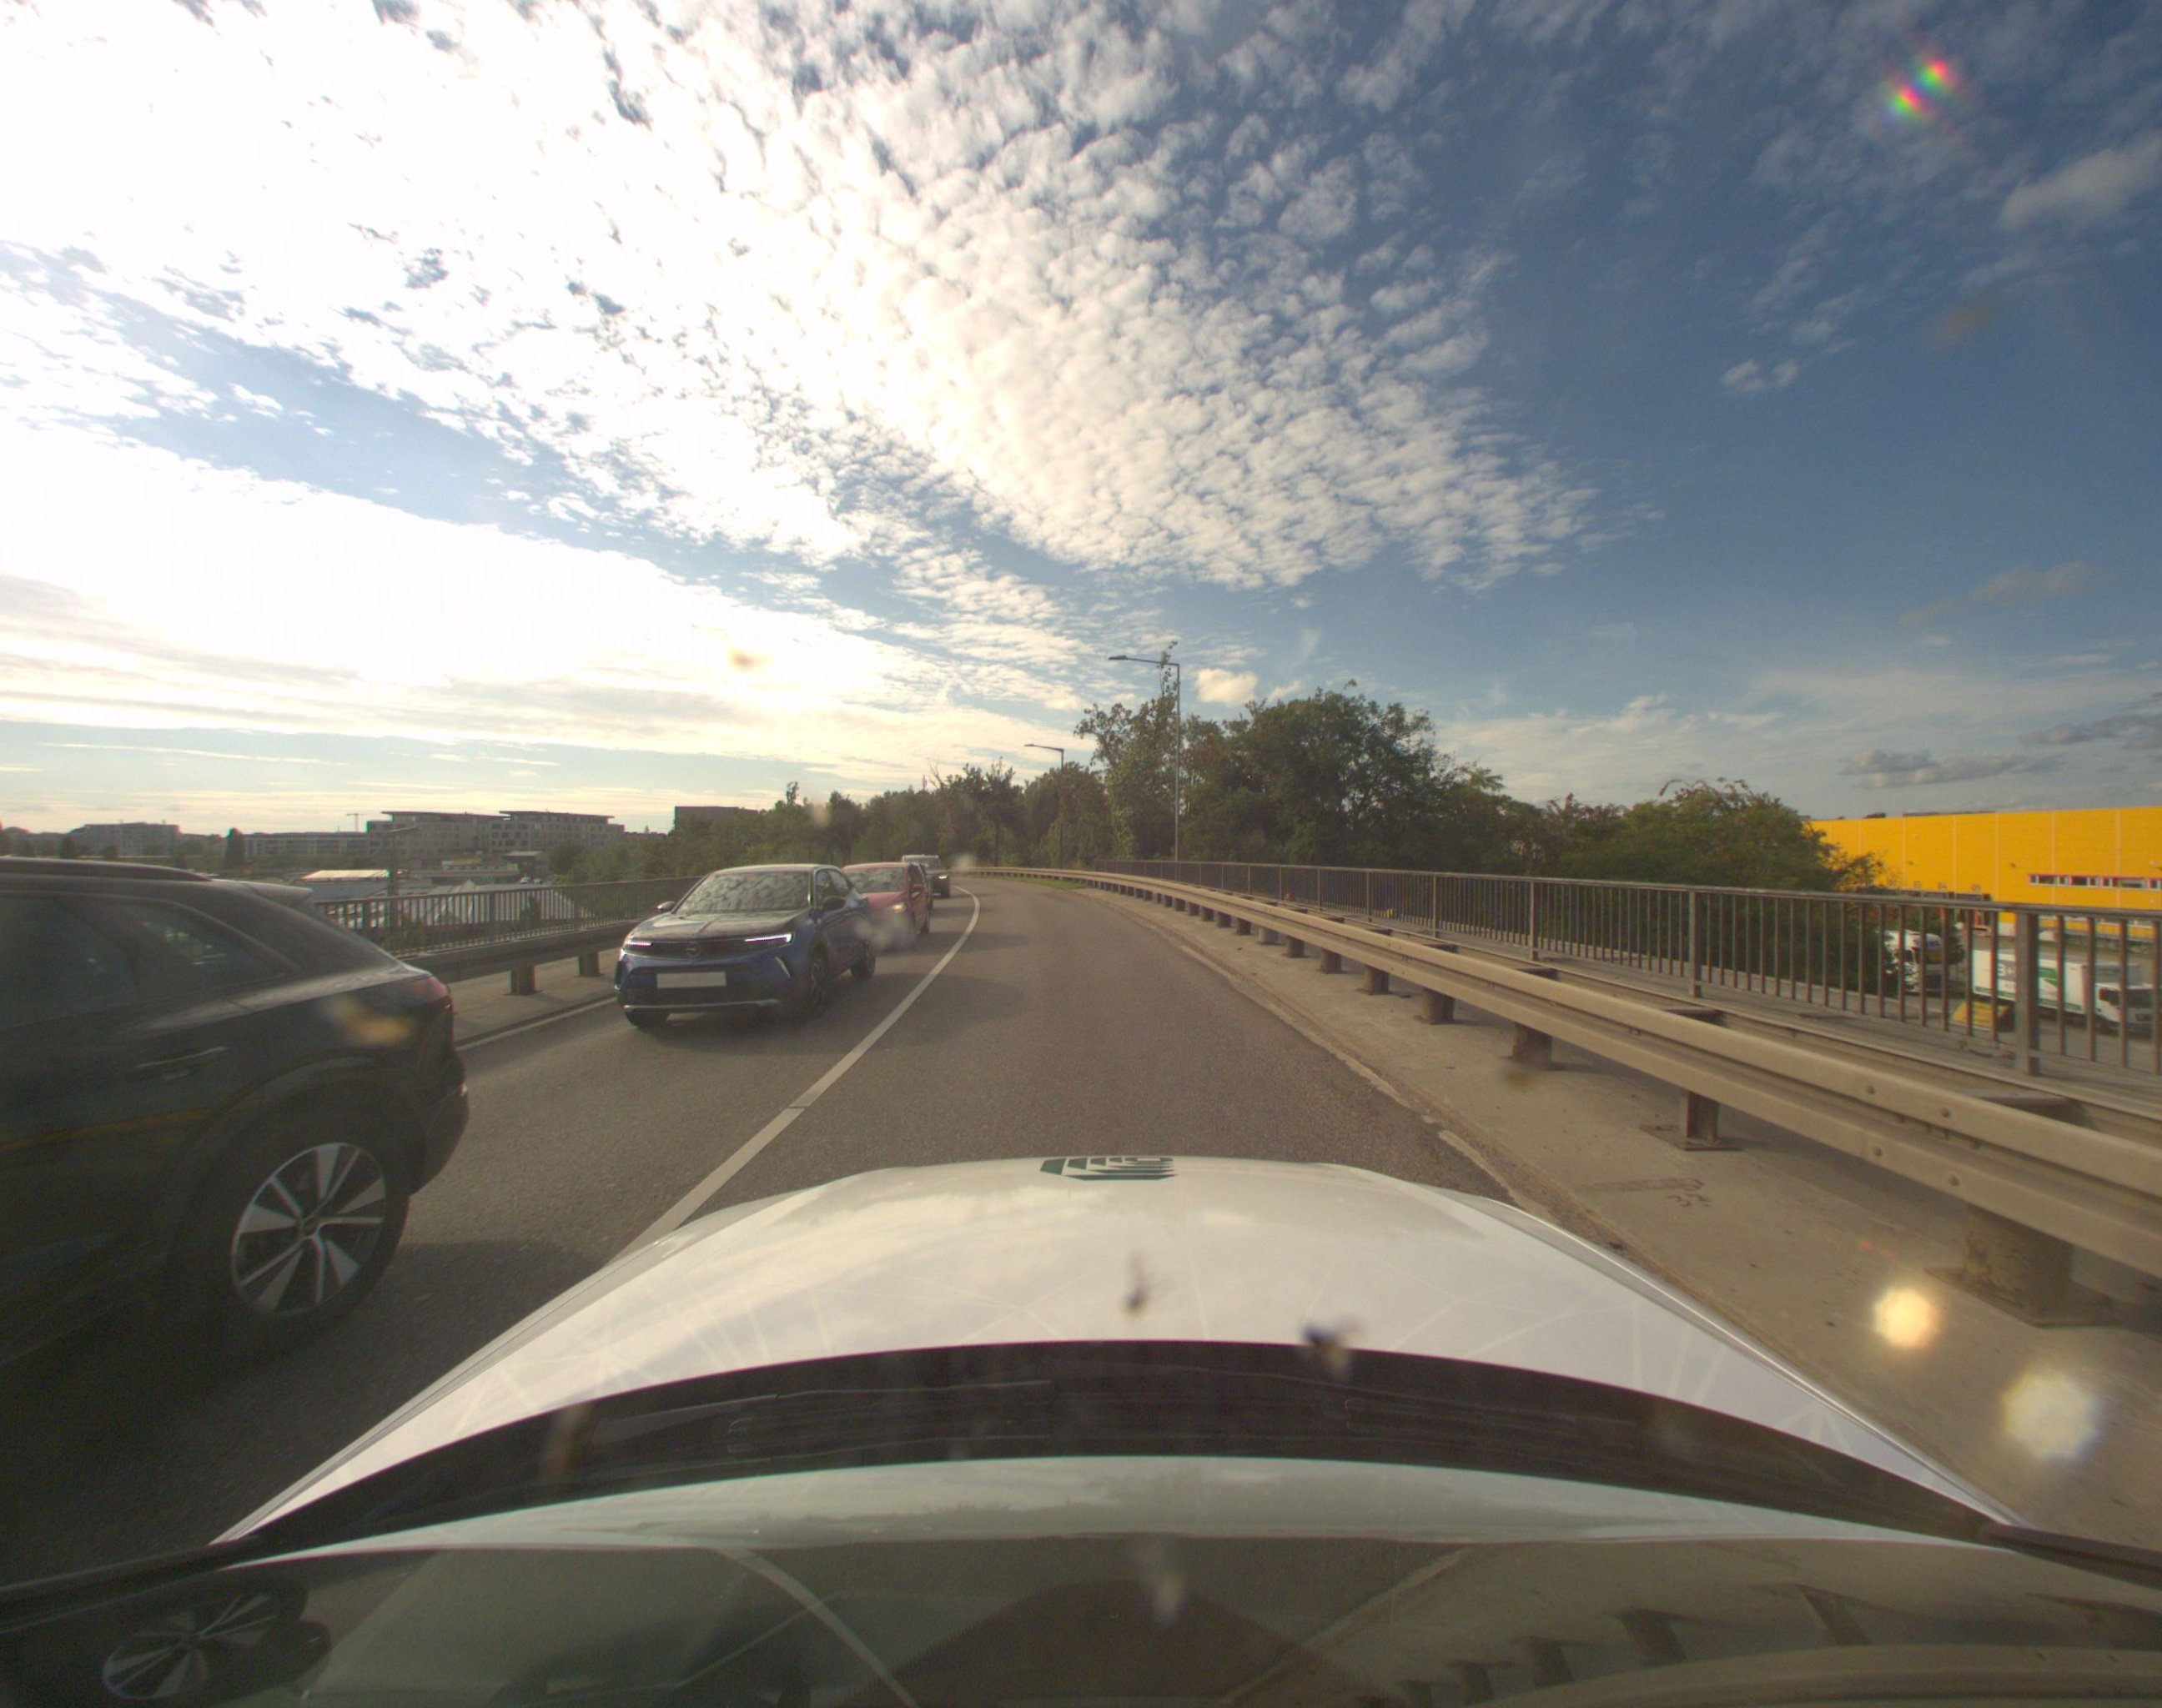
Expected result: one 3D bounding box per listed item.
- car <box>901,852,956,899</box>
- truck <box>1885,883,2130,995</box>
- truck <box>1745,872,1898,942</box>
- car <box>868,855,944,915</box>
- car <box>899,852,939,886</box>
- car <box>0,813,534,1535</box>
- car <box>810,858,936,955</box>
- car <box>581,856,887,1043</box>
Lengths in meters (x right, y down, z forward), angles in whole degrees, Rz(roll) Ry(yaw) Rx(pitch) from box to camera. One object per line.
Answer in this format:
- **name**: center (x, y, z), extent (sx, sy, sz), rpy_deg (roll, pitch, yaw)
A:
- **car**: center (-5.949, 0.805, 32.279), extent (1.889, 1.649, 4.628), rpy_deg (-3, 0, -9)
- **truck**: center (56.616, 4.917, 50.546), extent (3.607, 5.658, 11.308), rpy_deg (-2, 0, 10)
- **truck**: center (59.888, 4.100, 66.466), extent (3.607, 4.855, 11.308), rpy_deg (-2, 0, 10)
- **car**: center (-5.014, 0.834, 23.819), extent (1.730, 1.455, 4.255), rpy_deg (-3, 1, -7)
- **car**: center (-9.670, 0.870, 48.269), extent (1.904, 1.810, 5.375), rpy_deg (-2, 0, -15)
- **car**: center (-3.461, 0.771, 1.339), extent (1.919, 1.649, 4.588), rpy_deg (-3, 0, 0)
- **car**: center (-3.676, 0.852, 14.992), extent (1.596, 1.464, 3.730), rpy_deg (-3, 0, -5)
- **car**: center (-3.480, 0.829, 9.066), extent (1.795, 1.520, 4.003), rpy_deg (-3, 0, -3)
